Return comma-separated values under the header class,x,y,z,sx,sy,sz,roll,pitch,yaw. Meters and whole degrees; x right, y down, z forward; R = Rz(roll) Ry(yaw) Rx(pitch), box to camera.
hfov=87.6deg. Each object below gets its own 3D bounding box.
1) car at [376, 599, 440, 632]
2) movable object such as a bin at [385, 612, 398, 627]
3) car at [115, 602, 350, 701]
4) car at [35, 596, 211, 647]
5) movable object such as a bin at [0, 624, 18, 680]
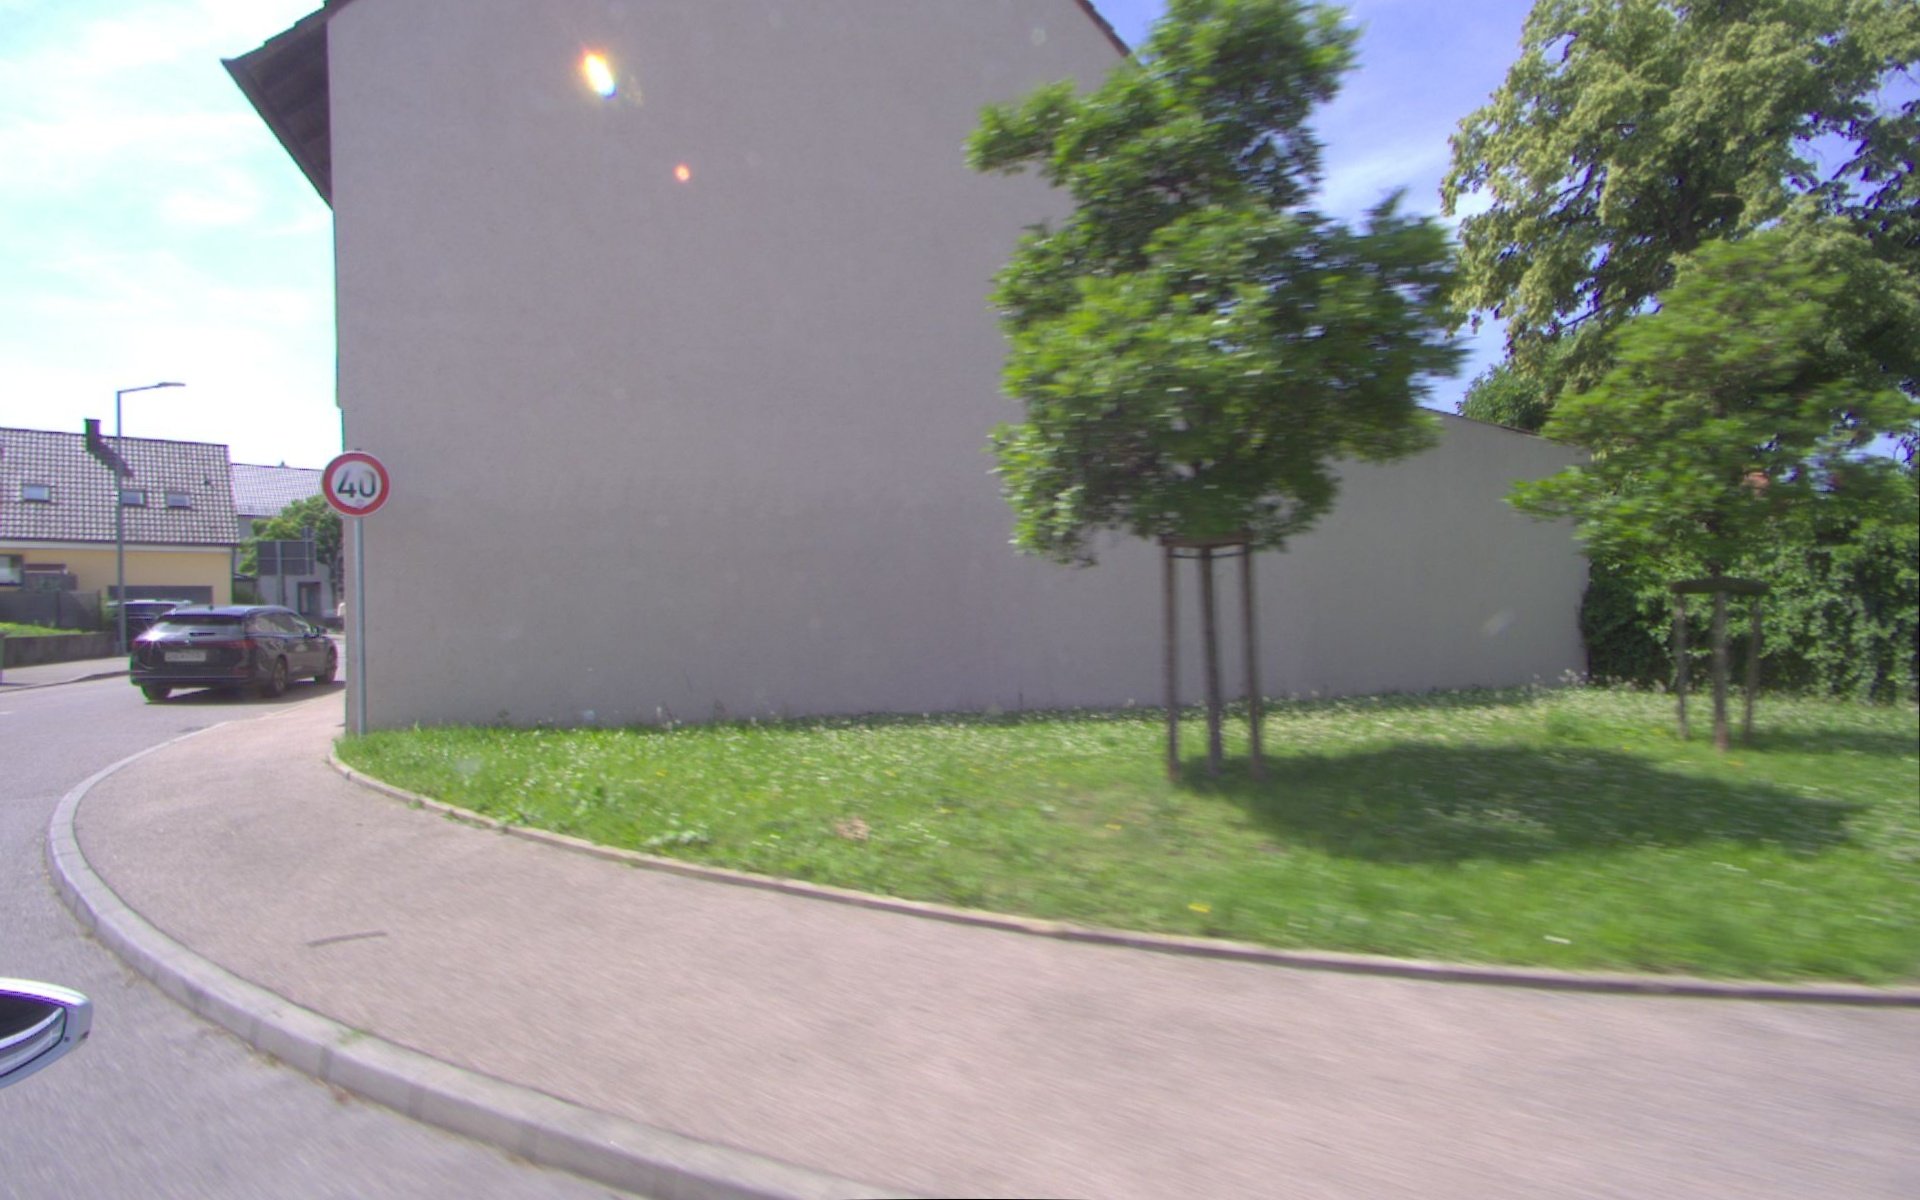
class,x,y,z,sx,sy,sz,roll,pitch,yaw
car,-27.224,0.729,49.555,1.927,1.506,4.449,-2,0,-18
movable object such as a bin,-40.766,1.413,71.803,0.746,1.074,0.675,0,1,-32
car,-12.101,0.770,17.062,1.815,1.439,4.673,1,0,-17
car,-28.395,0.726,34.191,4.356,1.644,1.988,0,-1,-32
movable object such as a bin,-18.991,1.008,19.481,0.781,1.071,0.649,0,1,-23
